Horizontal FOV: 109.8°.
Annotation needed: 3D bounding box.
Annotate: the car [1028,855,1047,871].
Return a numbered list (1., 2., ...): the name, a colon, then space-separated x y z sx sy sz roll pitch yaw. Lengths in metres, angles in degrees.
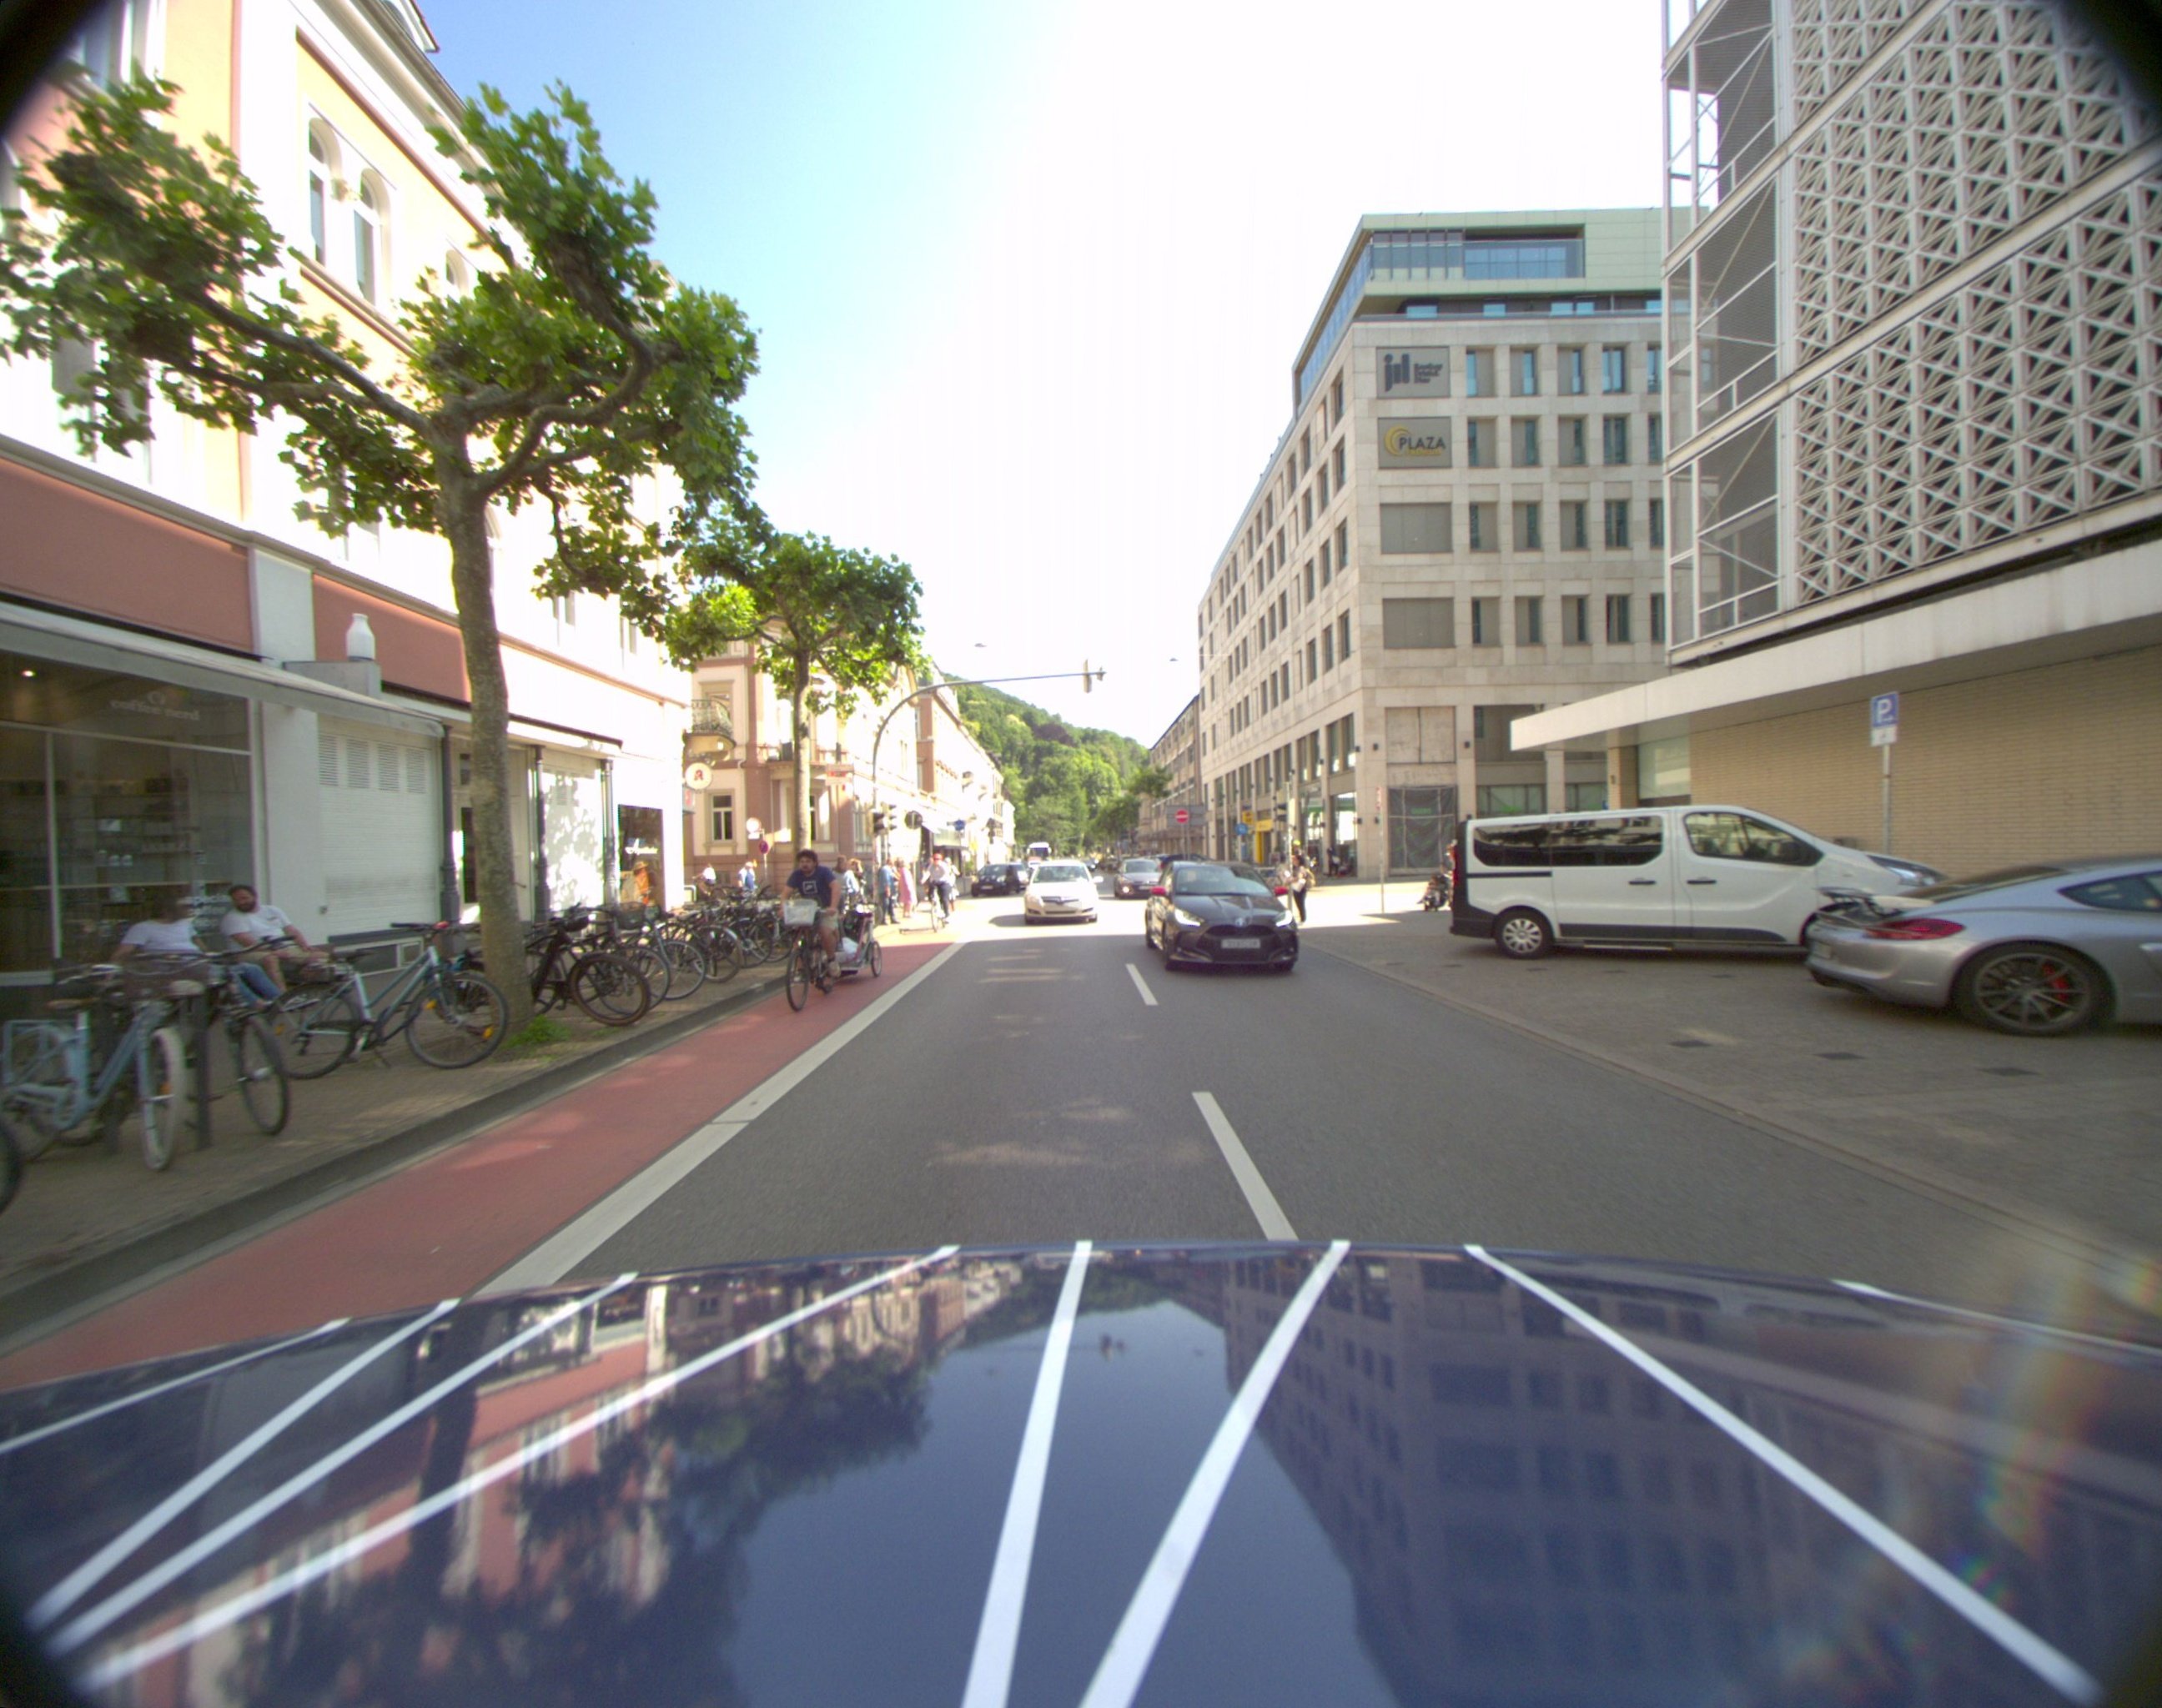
1. car: -4.688 0.948 81.642 1.799 1.516 4.262 -5 1 -3

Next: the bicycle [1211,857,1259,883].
1. bicycle: 7.262 0.749 35.894 2.060 1.120 0.563 -4 0 24

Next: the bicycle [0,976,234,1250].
1. bicycle: -5.327 1.244 3.801 1.843 1.120 0.530 -3 1 12

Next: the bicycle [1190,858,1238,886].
1. bicycle: 5.810 0.809 33.240 2.059 1.166 0.606 -2 2 44

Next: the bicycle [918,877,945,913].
1. bicycle: -5.501 1.487 28.069 0.607 1.121 1.859 0 3 1

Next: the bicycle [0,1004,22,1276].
1. bicycle: -5.419 1.214 2.999 1.844 1.120 0.448 -2 2 2

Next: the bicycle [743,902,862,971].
1. bicycle: -5.082 1.509 13.952 1.855 0.396 1.014 -10 36 4

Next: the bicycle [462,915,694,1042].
1. bicycle: -5.005 1.225 7.633 1.844 1.120 0.666 -2 2 1

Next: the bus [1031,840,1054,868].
1. bus: -5.219 -0.090 102.852 2.924 3.516 12.496 -1 1 -3

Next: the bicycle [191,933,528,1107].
1. bicycle: -5.335 1.212 5.699 1.844 1.120 0.679 -1 2 1

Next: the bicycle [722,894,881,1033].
1. bicycle: -3.093 1.152 8.707 0.733 1.261 2.283 -3 -1 6

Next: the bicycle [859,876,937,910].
1. bicycle: -6.445 1.361 26.805 2.572 1.120 0.628 -2 -2 -5

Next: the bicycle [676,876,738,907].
1. bicycle: -14.364 1.431 29.344 0.750 1.120 3.242 0 -2 1

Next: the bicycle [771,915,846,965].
1. bicycle: -5.320 1.651 14.753 1.142 0.432 1.850 9 4 -27

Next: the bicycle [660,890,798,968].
1. bicycle: -5.485 1.157 11.885 1.843 1.120 0.667 -1 2 6

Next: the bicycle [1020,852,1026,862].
1. bicycle: -7.544 0.389 98.551 0.596 1.121 2.093 0 3 1

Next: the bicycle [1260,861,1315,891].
1. bicycle: 8.213 0.884 30.349 1.991 1.120 0.799 -2 0 6

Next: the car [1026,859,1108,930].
1. car: -0.422 0.905 19.102 1.791 1.484 4.366 -2 0 -3

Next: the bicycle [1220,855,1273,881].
1. bicycle: 7.926 0.682 36.447 2.324 1.120 0.563 -4 1 24

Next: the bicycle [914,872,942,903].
1. bicycle: -6.067 1.311 30.220 0.664 1.111 1.992 -1 0 1

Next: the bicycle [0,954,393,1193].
1. bicycle: -5.322 1.215 4.514 1.989 1.120 0.762 -1 2 12

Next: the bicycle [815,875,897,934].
1. bicycle: -4.955 1.123 16.680 1.852 1.181 0.718 -6 -3 37

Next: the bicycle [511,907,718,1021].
1. bicycle: -5.141 1.197 8.443 1.844 1.120 0.666 -2 2 1

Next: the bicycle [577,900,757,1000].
1. bicycle: -5.133 1.179 9.489 1.844 1.120 0.643 -2 2 1

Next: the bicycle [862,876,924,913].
1. bicycle: -6.234 1.353 25.228 1.844 1.120 0.666 -2 1 3

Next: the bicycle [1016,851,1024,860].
1. bicycle: -7.304 0.171 91.142 0.743 1.120 2.573 0 1 1

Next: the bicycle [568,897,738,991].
1. bicycle: -5.643 1.181 10.090 1.844 1.120 0.666 -2 2 1

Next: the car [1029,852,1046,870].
1. car: -4.954 0.832 87.348 1.703 1.901 4.606 -6 0 -3

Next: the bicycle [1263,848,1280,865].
1. bicycle: 12.463 0.167 49.786 0.497 1.101 2.161 -4 0 -1

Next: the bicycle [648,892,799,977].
1. bicycle: -5.176 1.158 11.060 1.844 1.120 0.666 -2 2 1

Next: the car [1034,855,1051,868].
1. car: -4.689 0.853 92.369 1.869 1.479 4.413 -2 0 -3

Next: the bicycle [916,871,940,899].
1. bicycle: -6.745 1.358 33.608 0.748 1.111 1.917 -3 1 -4

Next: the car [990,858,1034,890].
1. car: -3.599 1.019 40.514 1.957 1.416 4.885 -4 0 -2

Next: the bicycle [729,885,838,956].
1. bicycle: -5.153 1.157 13.146 1.843 1.120 0.346 -4 0 14

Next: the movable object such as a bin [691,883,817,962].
1. movable object such as a bin: -5.452 1.146 12.701 1.853 1.182 0.653 -4 0 15

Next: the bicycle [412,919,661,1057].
1. bicycle: -4.929 1.204 6.937 1.844 1.120 0.530 -2 2 1

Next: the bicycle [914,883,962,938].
1. bicycle: -3.270 1.271 17.558 0.737 1.120 2.033 -3 -1 -2

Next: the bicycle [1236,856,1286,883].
1. bicycle: 8.052 0.685 33.945 2.059 1.120 0.648 -2 0 25

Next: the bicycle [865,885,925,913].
1. bicycle: -6.165 1.482 25.168 1.826 0.839 0.501 -2 1 0
